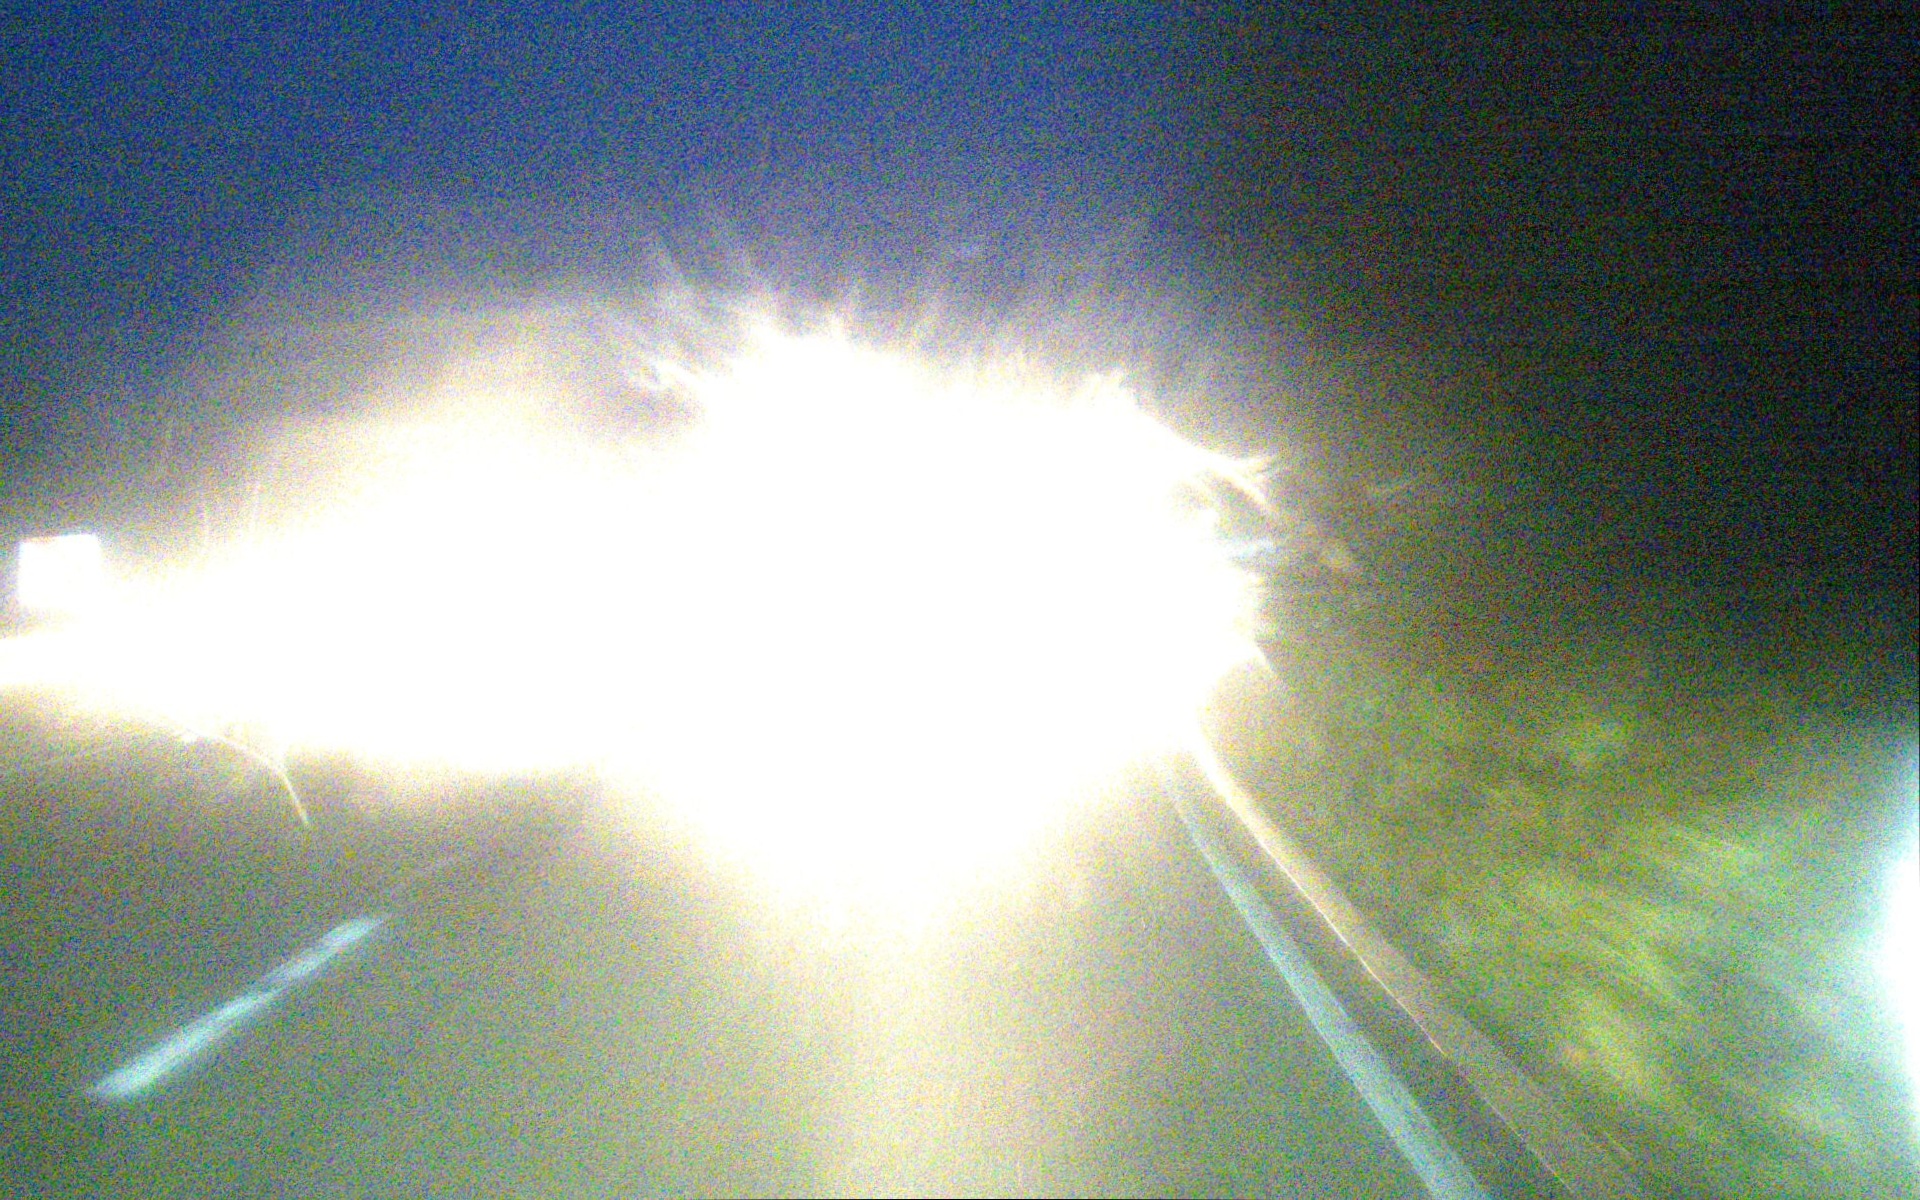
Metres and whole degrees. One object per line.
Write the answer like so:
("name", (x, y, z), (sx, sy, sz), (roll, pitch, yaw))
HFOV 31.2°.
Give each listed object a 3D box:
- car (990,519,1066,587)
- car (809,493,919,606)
("car", (1.915, -1.332, 96.204), (1.993, 1.650, 4.000), (-4, 2, 2))
("car", (-1.612, -0.878, 58.840), (1.757, 1.861, 4.000), (0, 1, 0))
